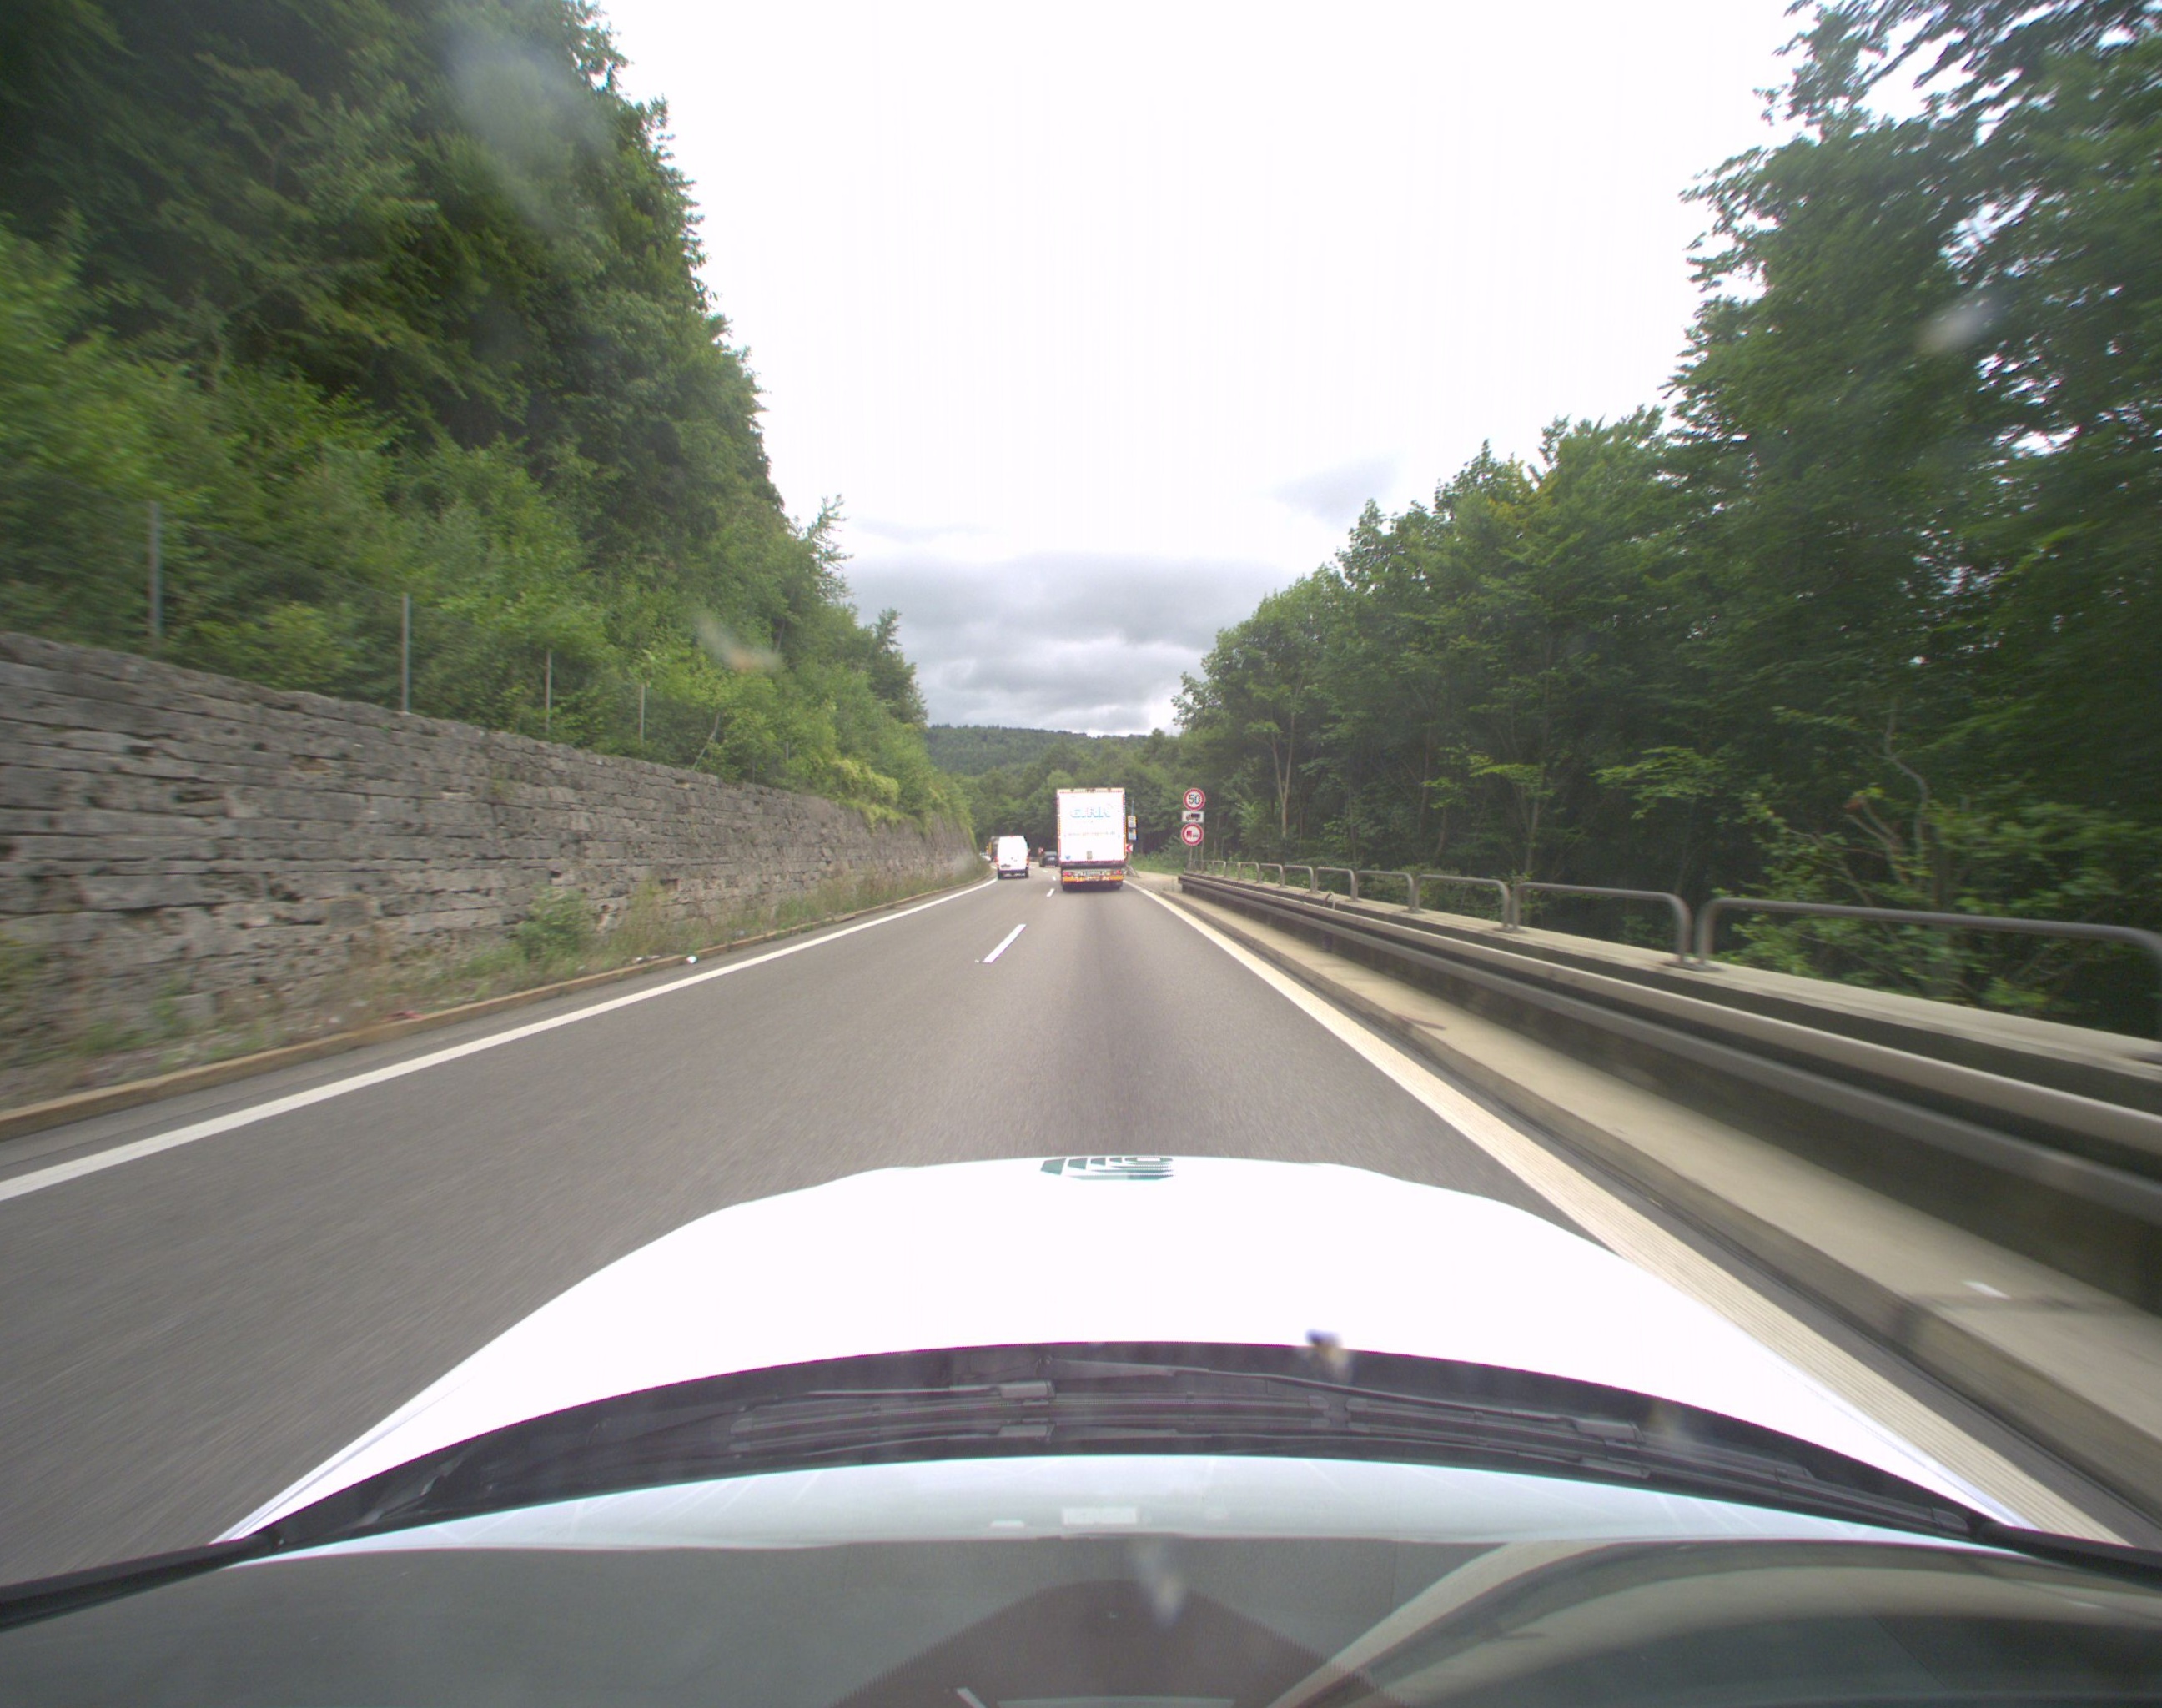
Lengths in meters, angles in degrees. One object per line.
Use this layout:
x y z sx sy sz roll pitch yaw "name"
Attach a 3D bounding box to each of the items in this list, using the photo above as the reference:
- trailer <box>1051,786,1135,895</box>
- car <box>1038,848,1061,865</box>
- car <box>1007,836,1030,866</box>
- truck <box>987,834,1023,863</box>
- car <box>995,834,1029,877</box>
0.367 -0.653 36.431 3.048 3.985 12.133 1 1 -1 "trailer"
-3.212 0.217 83.254 1.992 1.662 3.990 0 0 -8 "car"
-5.925 -0.308 76.878 1.937 2.672 5.978 0 0 -6 "car"
-11.559 -0.857 122.486 3.062 3.985 13.632 -3 1 -14 "truck"
-4.478 0.066 54.003 1.984 2.672 6.928 0 0 -3 "car"
